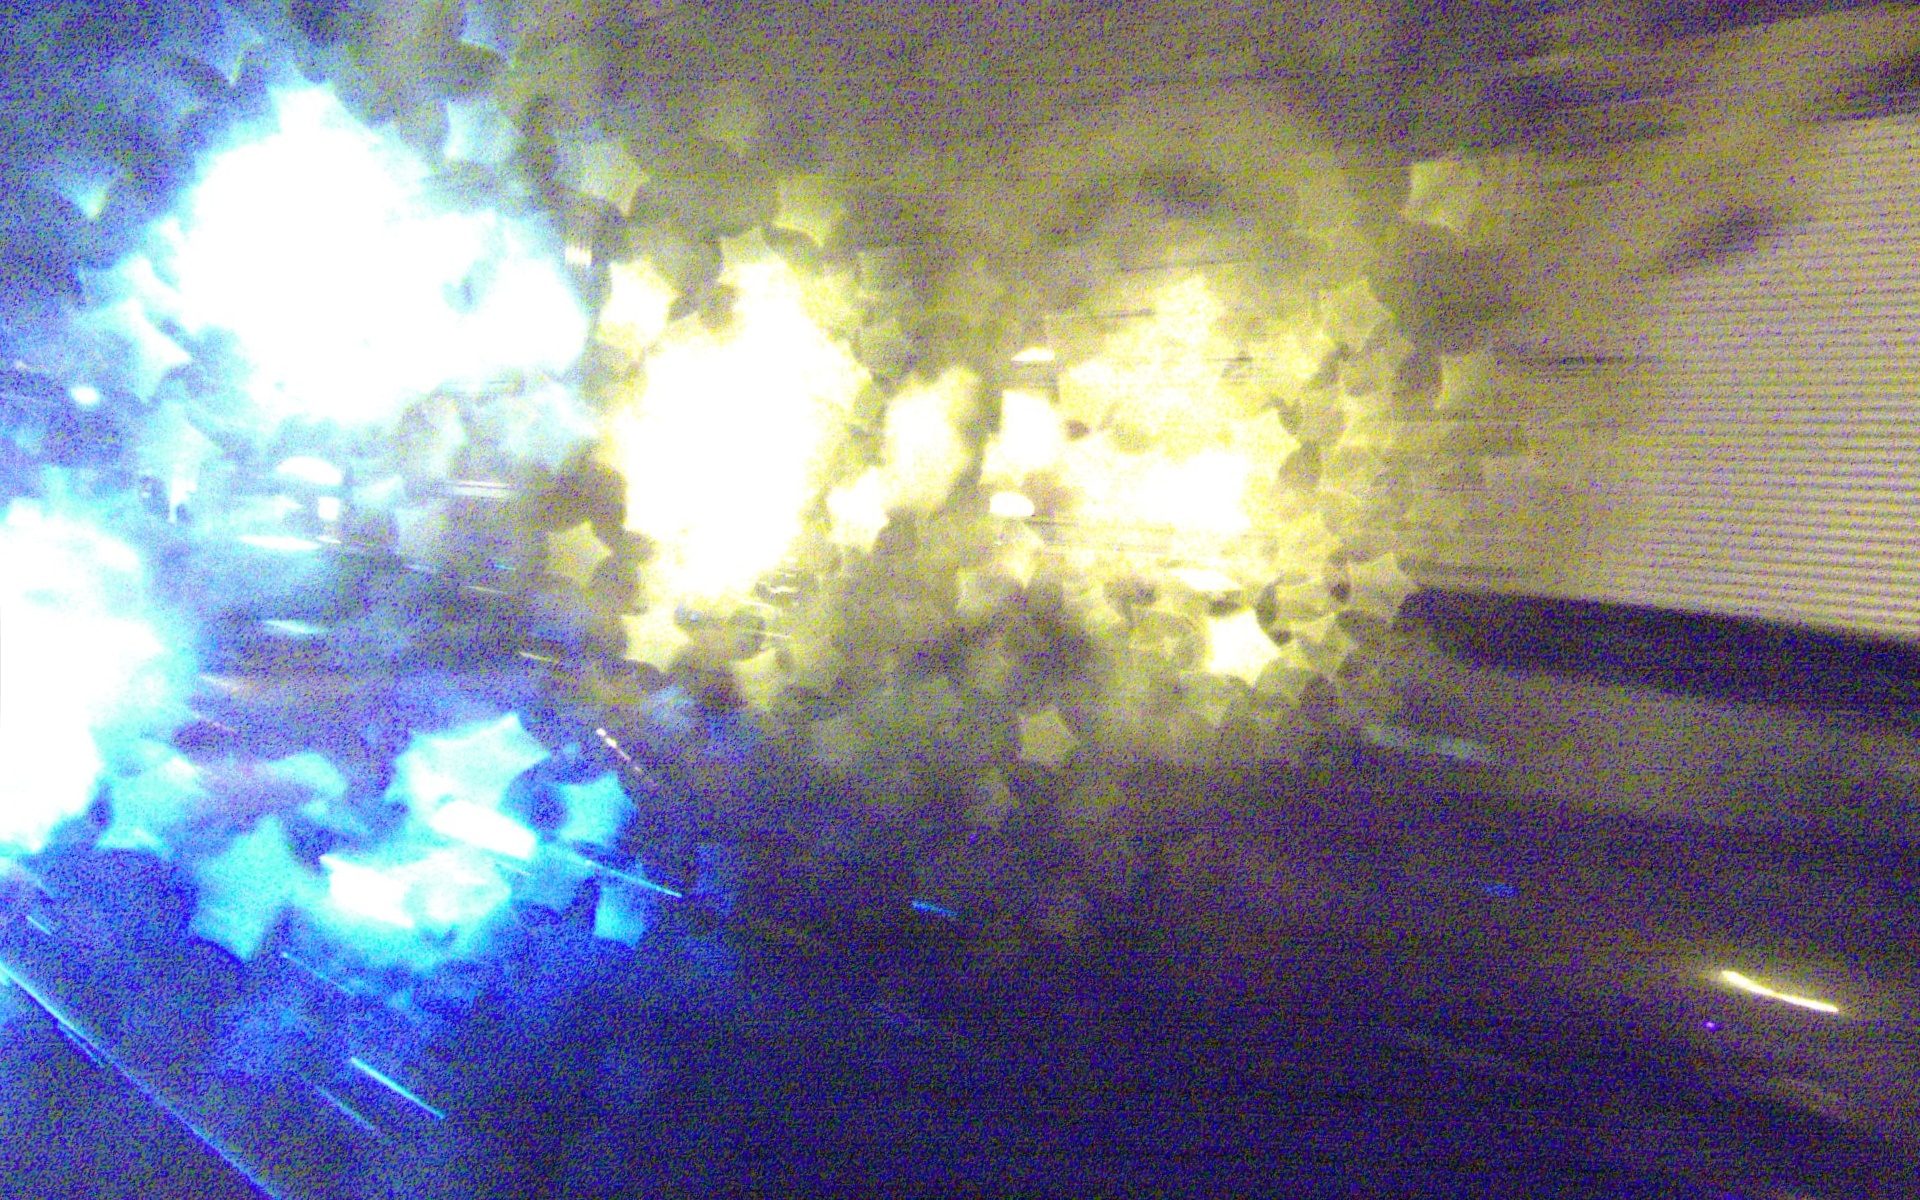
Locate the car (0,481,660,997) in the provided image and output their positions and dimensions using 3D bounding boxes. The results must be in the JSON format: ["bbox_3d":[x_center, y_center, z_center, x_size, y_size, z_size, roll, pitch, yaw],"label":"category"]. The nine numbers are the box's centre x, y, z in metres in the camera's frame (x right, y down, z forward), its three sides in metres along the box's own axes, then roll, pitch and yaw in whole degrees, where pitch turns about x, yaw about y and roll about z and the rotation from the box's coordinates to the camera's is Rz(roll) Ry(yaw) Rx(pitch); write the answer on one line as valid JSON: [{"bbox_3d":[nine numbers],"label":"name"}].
[{"bbox_3d":[-3.572,0.282,4.688,3.933,1.429,1.920,7,0,31],"label":"car"}]

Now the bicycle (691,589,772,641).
[{"bbox_3d":[-5.500,0.355,24.165,1.953,1.021,0.701,6,-2,36],"label":"bicycle"}]

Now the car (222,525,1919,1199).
[{"bbox_3d":[0.448,0.828,2.021,3.826,1.517,1.691,7,0,31],"label":"car"}]

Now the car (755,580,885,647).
[{"bbox_3d":[-3.763,0.402,27.513,1.584,1.476,3.408,7,0,33],"label":"car"}]

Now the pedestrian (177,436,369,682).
[{"bbox_3d":[-5.551,-0.330,8.128,1.065,1.812,0.862,8,3,35],"label":"pedestrian"}]
